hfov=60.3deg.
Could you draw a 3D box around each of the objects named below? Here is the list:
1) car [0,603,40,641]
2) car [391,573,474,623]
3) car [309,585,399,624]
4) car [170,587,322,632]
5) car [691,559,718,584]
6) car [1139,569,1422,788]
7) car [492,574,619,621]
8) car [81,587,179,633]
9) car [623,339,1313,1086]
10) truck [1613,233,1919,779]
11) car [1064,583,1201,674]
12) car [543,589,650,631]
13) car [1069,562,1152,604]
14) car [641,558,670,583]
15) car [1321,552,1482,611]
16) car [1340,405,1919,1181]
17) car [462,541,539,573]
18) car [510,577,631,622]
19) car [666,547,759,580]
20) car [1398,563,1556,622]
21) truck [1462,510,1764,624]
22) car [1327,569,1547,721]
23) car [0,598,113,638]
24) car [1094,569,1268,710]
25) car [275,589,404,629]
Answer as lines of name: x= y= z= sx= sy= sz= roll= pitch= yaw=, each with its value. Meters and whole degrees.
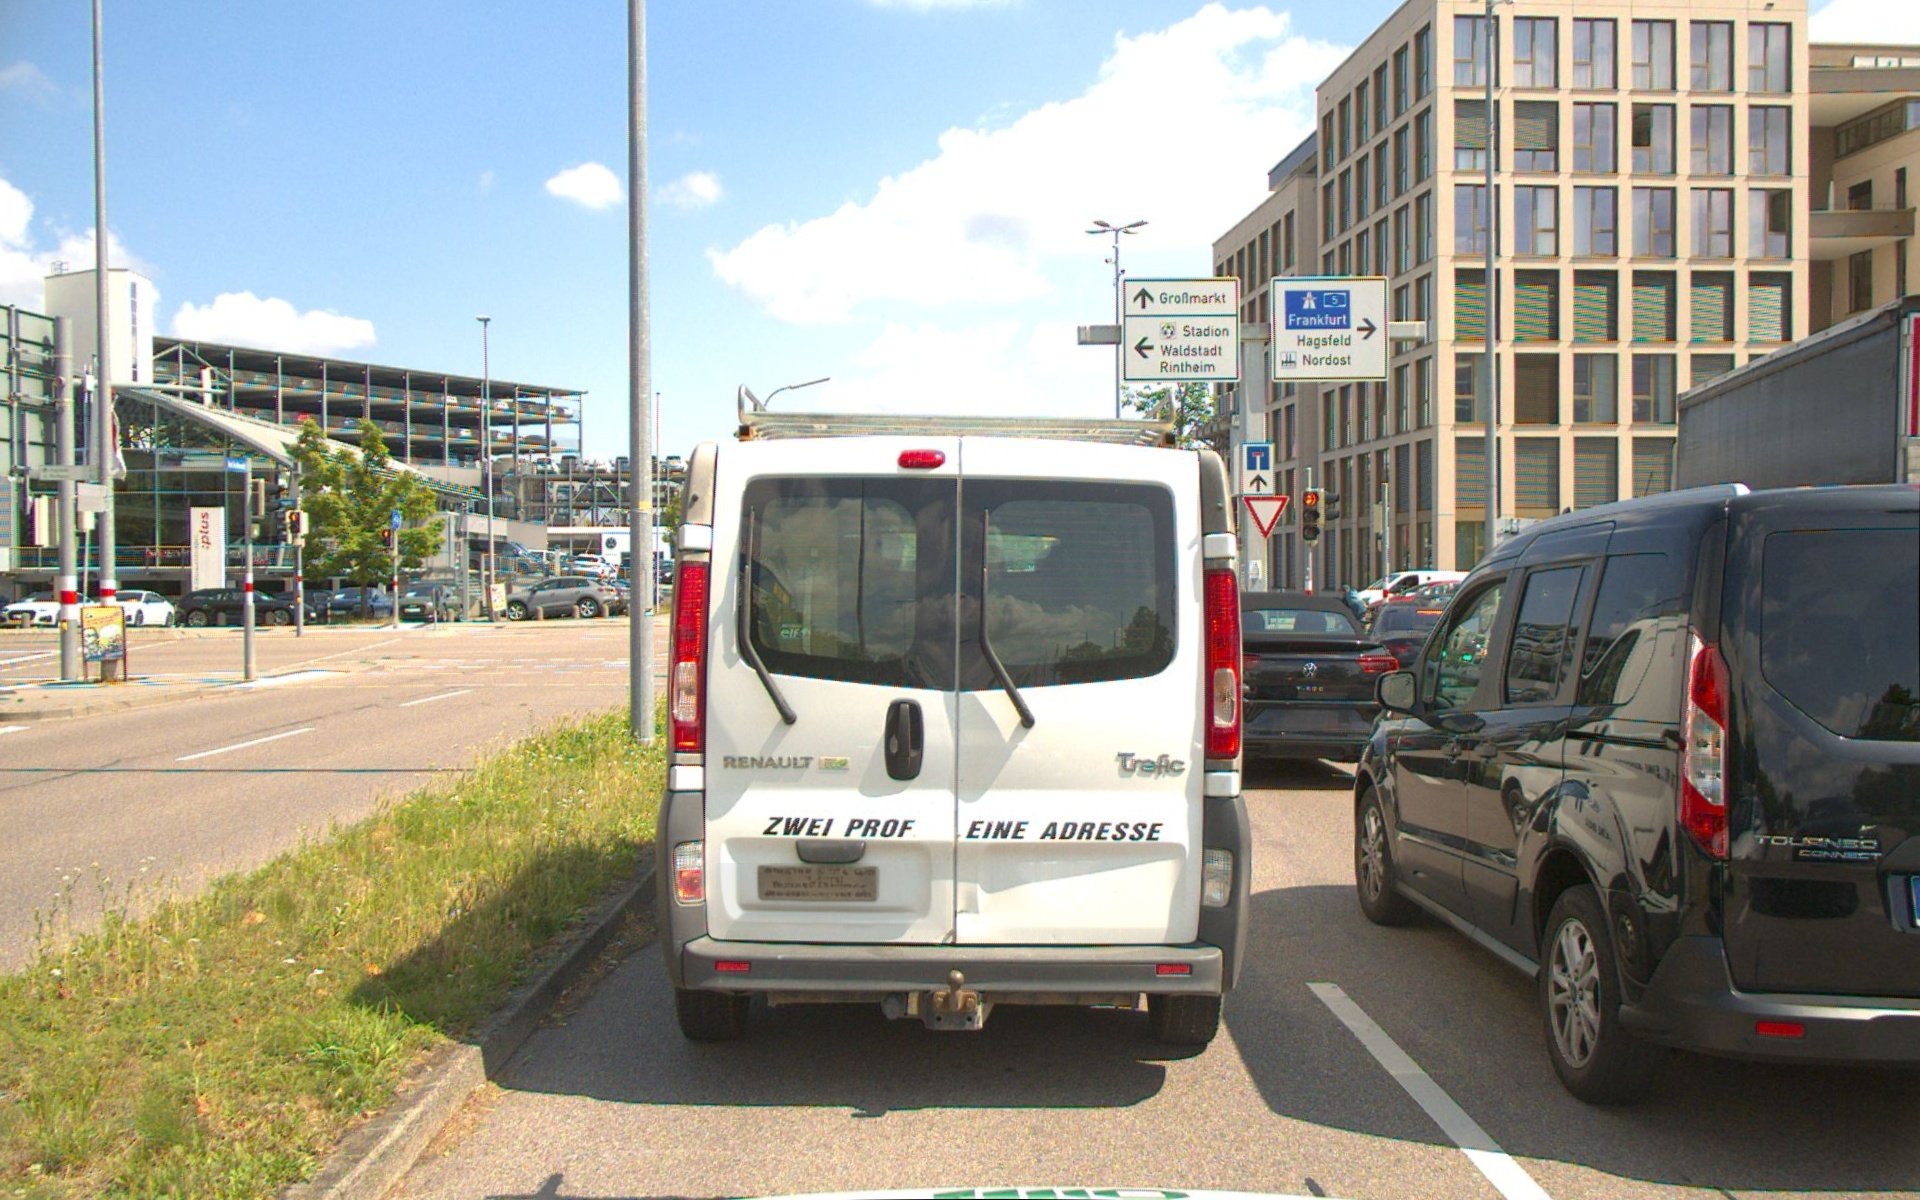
car: x=-34.431 y=0.767 z=58.198 sx=1.864 sy=1.320 sz=4.585 roll=1 pitch=0 yaw=-5
car: x=-18.972 y=-0.068 z=59.671 sx=1.864 sy=1.707 sz=4.585 roll=1 pitch=0 yaw=-5
car: x=-21.738 y=0.160 z=59.505 sx=1.864 sy=1.320 sz=4.585 roll=1 pitch=0 yaw=-5
car: x=-25.668 y=0.343 z=59.588 sx=4.649 sy=1.490 sz=1.793 roll=-1 pitch=-3 yaw=-6
car: x=-16.690 y=-1.850 z=108.308 sx=1.531 sy=1.579 sz=3.598 roll=0 pitch=0 yaw=-6
car: x=2.656 y=0.585 z=14.583 sx=1.737 sy=1.658 sz=4.000 roll=0 pitch=0 yaw=0
car: x=-15.724 y=-0.083 z=64.471 sx=4.484 sy=1.707 sz=1.906 roll=1 pitch=0 yaw=-4
car: x=-29.383 y=0.381 z=58.660 sx=1.755 sy=1.490 sz=3.995 roll=-1 pitch=-2 yaw=-5
car: x=-0.005 y=0.308 z=6.947 sx=1.933 sy=2.096 sz=4.564 roll=0 pitch=0 yaw=-1
truck: x=9.289 y=-0.655 z=16.662 sx=3.143 sy=4.098 sz=9.078 roll=1 pitch=0 yaw=9
car: x=2.984 y=0.477 z=29.398 sx=1.818 sy=1.467 sz=3.998 roll=1 pitch=0 yaw=-3
car: x=-16.516 y=0.455 z=75.301 sx=4.484 sy=1.707 sz=1.906 roll=-1 pitch=2 yaw=-4
car: x=7.790 y=-0.867 z=85.860 sx=3.913 sy=2.049 sz=1.996 roll=1 pitch=0 yaw=-9
car: x=-19.995 y=-1.934 z=108.707 sx=1.531 sy=1.579 sz=3.598 roll=1 pitch=0 yaw=-6
car: x=14.891 y=-0.615 z=55.901 sx=4.883 sy=1.870 sz=1.996 roll=1 pitch=0 yaw=-8
car: x=2.755 y=0.476 z=6.140 sx=1.786 sy=1.938 sz=4.000 roll=0 pitch=0 yaw=0
car: x=-28.656 y=-2.653 z=103.159 sx=4.356 sy=1.833 sz=1.762 roll=1 pitch=0 yaw=-7
car: x=-15.801 y=-0.015 z=67.217 sx=4.484 sy=1.707 sz=1.906 roll=1 pitch=0 yaw=-4
car: x=-17.295 y=-2.514 z=115.727 sx=6.264 sy=2.139 sz=1.763 roll=1 pitch=0 yaw=-6
car: x=15.354 y=-0.205 z=49.231 sx=4.119 sy=1.655 sz=1.825 roll=1 pitch=0 yaw=-8
truck: x=22.339 y=-1.094 z=56.730 sx=9.568 sy=3.617 sz=2.670 roll=1 pitch=0 yaw=-8
car: x=5.883 y=0.644 z=20.886 sx=1.820 sy=1.685 sz=4.220 roll=1 pitch=-4 yaw=4
car: x=-31.915 y=0.629 z=58.488 sx=1.864 sy=1.320 sz=4.585 roll=1 pitch=0 yaw=-5
car: x=2.777 y=0.451 z=21.554 sx=1.737 sy=1.658 sz=4.000 roll=0 pitch=0 yaw=0
car: x=-25.885 y=0.378 z=69.112 sx=4.649 sy=1.537 sz=1.982 roll=-1 pitch=-2 yaw=-6
